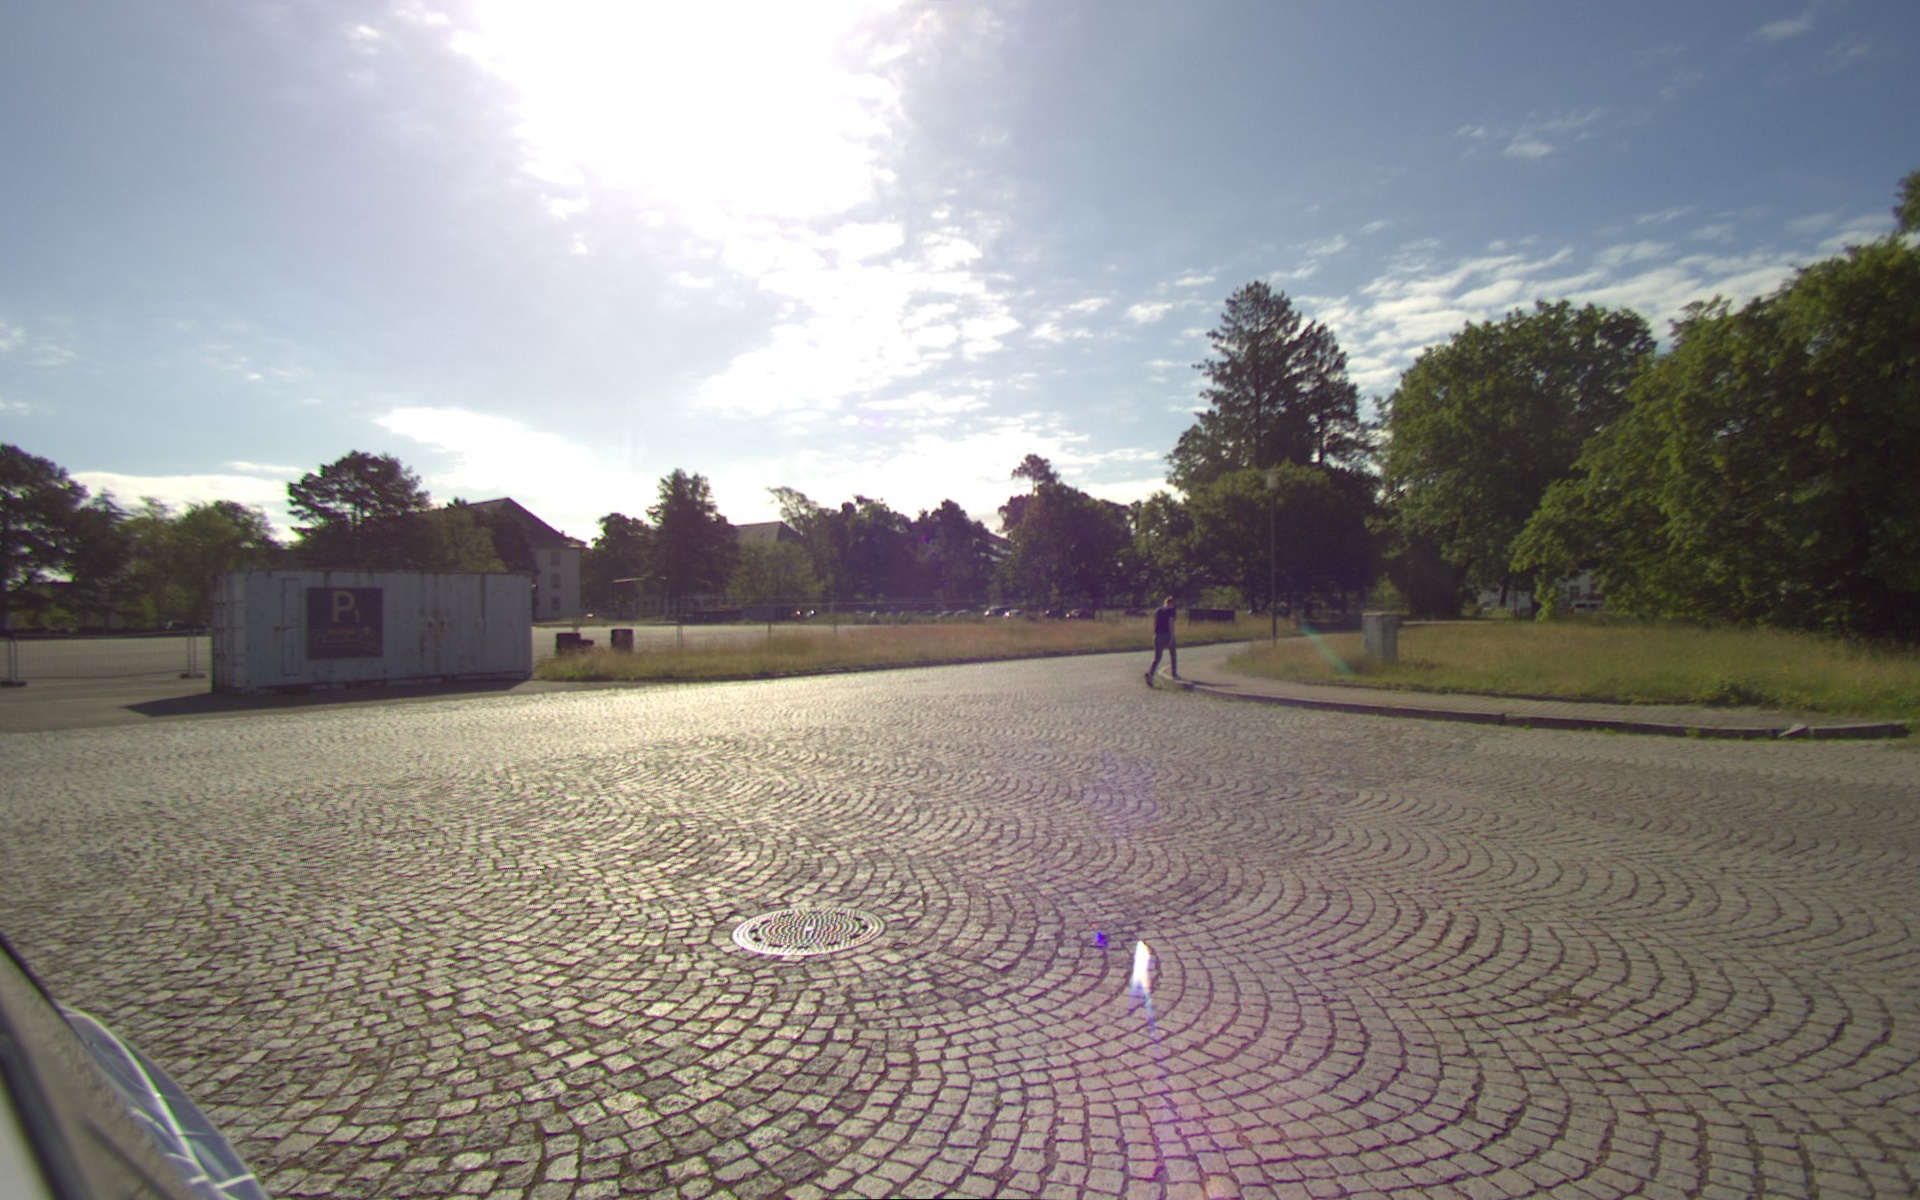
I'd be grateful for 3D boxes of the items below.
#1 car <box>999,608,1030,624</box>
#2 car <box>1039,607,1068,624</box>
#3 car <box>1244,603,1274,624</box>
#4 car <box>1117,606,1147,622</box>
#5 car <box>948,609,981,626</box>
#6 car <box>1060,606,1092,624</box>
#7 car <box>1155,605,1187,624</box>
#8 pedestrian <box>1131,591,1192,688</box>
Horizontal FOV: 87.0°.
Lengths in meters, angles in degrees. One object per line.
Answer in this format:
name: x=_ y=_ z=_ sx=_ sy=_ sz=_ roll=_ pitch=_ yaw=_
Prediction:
car: x=6.687 y=1.942 z=124.829 sx=1.996 sy=1.962 sz=3.952 roll=-1 pitch=-1 yaw=36
car: x=11.190 y=1.833 z=120.626 sx=1.992 sy=2.029 sz=3.960 roll=-1 pitch=-1 yaw=29
car: x=30.874 y=1.388 z=104.503 sx=1.993 sy=2.029 sz=3.957 roll=-1 pitch=-1 yaw=31
car: x=19.453 y=1.587 z=114.289 sx=1.993 sy=1.829 sz=3.957 roll=-1 pitch=-1 yaw=31
car: x=0.563 y=2.242 z=129.635 sx=2.001 sy=2.029 sz=3.942 roll=-5 pitch=-3 yaw=45
car: x=13.684 y=1.763 z=119.026 sx=1.996 sy=2.029 sz=3.951 roll=-1 pitch=-1 yaw=36
car: x=23.303 y=1.597 z=111.682 sx=1.996 sy=2.029 sz=3.952 roll=-1 pitch=-1 yaw=35
pedestrian: x=4.159 y=0.796 z=20.881 sx=0.799 sy=1.929 sz=1.127 roll=-1 pitch=-1 yaw=39
